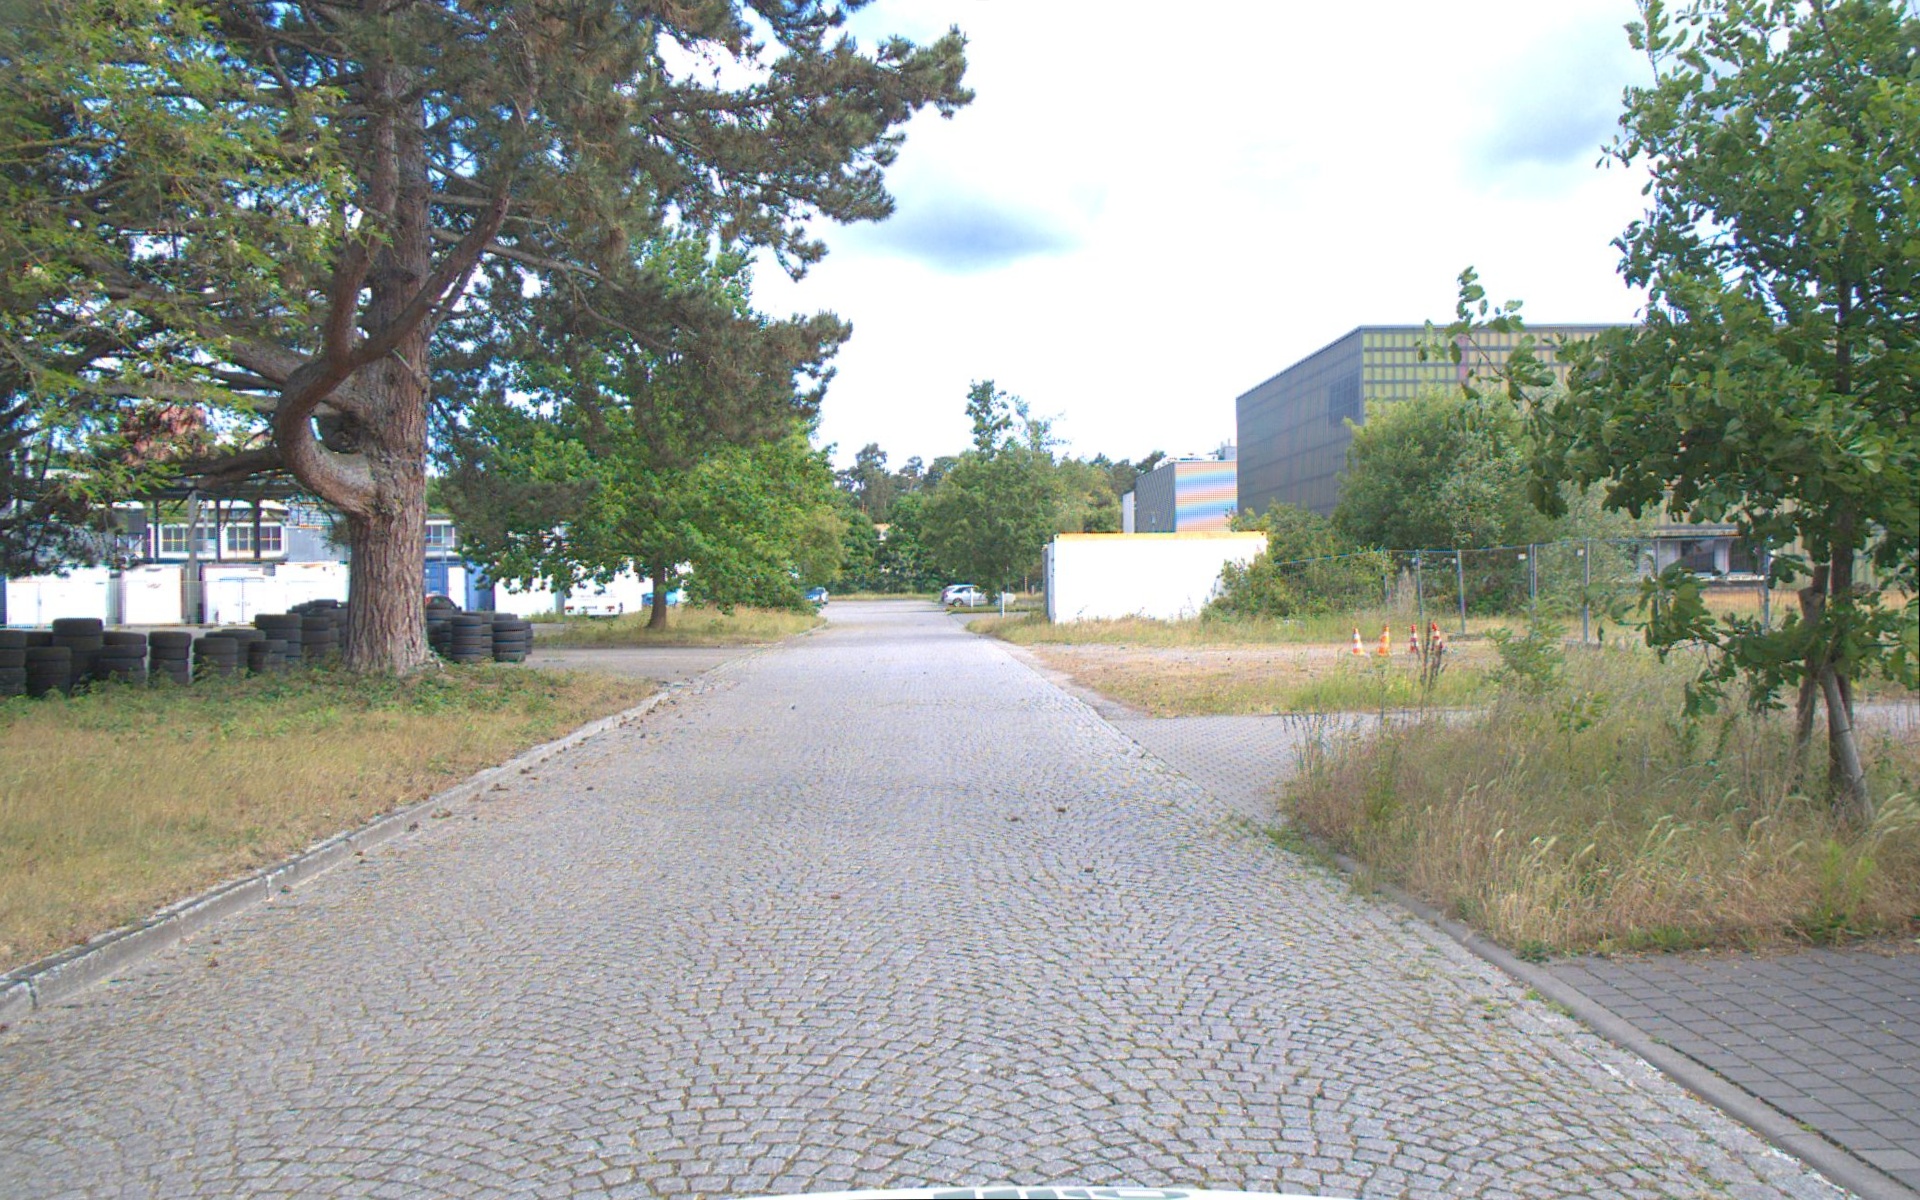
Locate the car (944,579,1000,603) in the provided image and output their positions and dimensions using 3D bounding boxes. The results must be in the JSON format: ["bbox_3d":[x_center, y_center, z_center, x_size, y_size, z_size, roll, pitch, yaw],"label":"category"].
[{"bbox_3d":[0.855,-0.665,117.893,3.904,1.473,1.653,-3,0,-2],"label":"car"}]

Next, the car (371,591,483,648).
[{"bbox_3d":[-14.834,0.508,46.246,1.591,1.458,4.066,-1,1,3],"label":"car"}]

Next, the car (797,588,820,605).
[{"bbox_3d":[-12.481,-0.307,136.231,1.614,1.393,3.996,-1,0,-2],"label":"car"}]

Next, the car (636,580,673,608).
[{"bbox_3d":[-22.830,-0.475,123.779,1.953,2.049,4.766,-1,0,-2],"label":"car"}]

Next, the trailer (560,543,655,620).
[{"bbox_3d":[-17.783,-0.942,84.087,2.571,3.660,10.177,-1,0,0],"label":"trailer"}]

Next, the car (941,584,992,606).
[{"bbox_3d":[0.431,-0.362,115.181,3.452,1.386,1.622,-3,0,-2],"label":"car"}]
